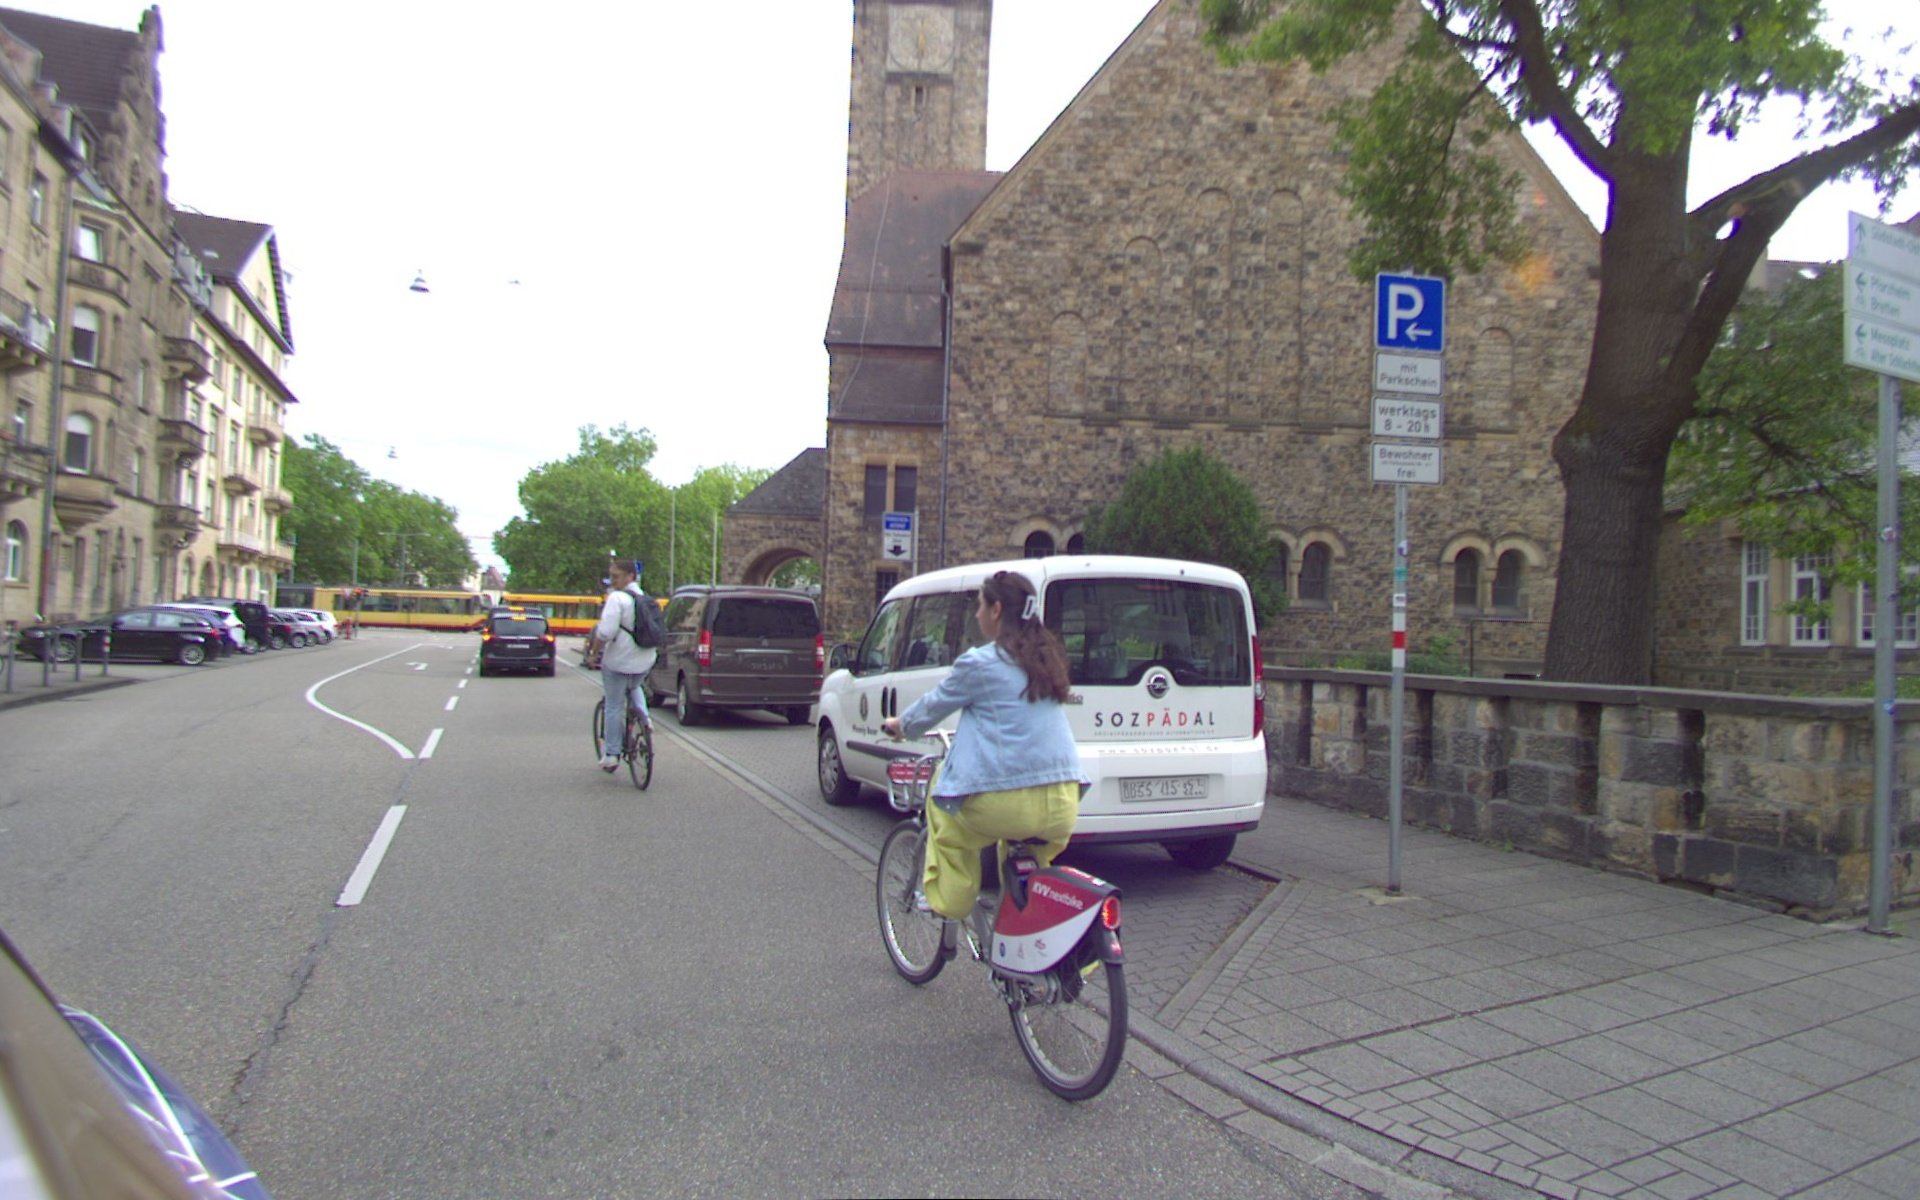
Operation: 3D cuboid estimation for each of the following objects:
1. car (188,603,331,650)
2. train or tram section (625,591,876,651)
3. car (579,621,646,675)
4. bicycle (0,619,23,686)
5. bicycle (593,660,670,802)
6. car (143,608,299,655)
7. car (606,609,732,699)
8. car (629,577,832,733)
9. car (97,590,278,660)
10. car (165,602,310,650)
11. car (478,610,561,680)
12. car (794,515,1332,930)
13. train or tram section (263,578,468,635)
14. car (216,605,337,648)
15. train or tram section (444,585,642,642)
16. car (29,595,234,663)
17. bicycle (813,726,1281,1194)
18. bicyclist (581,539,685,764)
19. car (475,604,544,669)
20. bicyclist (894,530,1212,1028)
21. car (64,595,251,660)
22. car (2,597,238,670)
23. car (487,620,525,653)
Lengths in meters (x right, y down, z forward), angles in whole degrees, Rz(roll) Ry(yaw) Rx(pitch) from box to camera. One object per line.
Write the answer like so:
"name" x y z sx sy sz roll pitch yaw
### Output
"car" -30.682 1.204 44.512 1.929 1.698 4.705 3 -3 29
"train or tram section" -16.937 1.717 82.730 19.677 4.124 3.626 2 -1 2
"car" -10.947 1.459 31.753 1.623 1.520 3.784 1 0 -25
"bicycle" -17.241 0.871 17.578 1.726 1.112 0.724 2 -3 24
"bicycle" -3.024 1.125 9.237 0.559 1.096 1.993 2 -2 -20
"car" -28.173 1.232 38.757 1.842 1.564 4.425 2 -3 26
"car" -6.285 1.118 21.510 1.817 1.701 4.446 2 -3 -25
"car" -3.813 0.808 15.964 1.985 2.029 5.200 2 -2 -25
"car" -25.362 0.875 33.411 1.868 1.921 4.248 2 -5 24
"car" -29.498 1.091 41.486 1.738 1.586 4.425 2 -5 26
"car" -11.912 1.196 27.313 1.819 1.697 4.563 2 -2 -24
"car" 0.279 0.657 7.228 1.817 1.954 4.562 2 -2 -23
"train or tram section" -49.072 0.566 83.793 14.834 4.124 3.653 2 -1 2
"car" -31.979 1.277 47.460 1.909 1.695 4.180 2 -3 31
"train or tram section" -34.189 1.114 83.333 14.834 4.124 3.579 2 -1 2
"car" -22.956 0.847 28.173 1.928 1.545 3.951 0 -6 36
"bicycle" 0.166 1.045 3.544 0.528 0.985 1.870 3 -1 -35
"bicyclist" -2.889 0.451 8.934 0.771 1.880 0.717 2 -2 -20
"car" -15.068 1.205 33.858 1.885 1.969 5.301 2 -2 -24
"bicyclist" 0.307 0.510 3.384 0.784 1.409 0.661 1 -1 44
"car" -24.108 0.869 30.582 1.756 1.613 3.966 2 -5 25
"car" -21.235 0.899 25.771 1.679 1.489 4.213 1 -5 32
"car" -23.405 1.894 52.146 1.626 1.540 3.906 5 -4 -24
